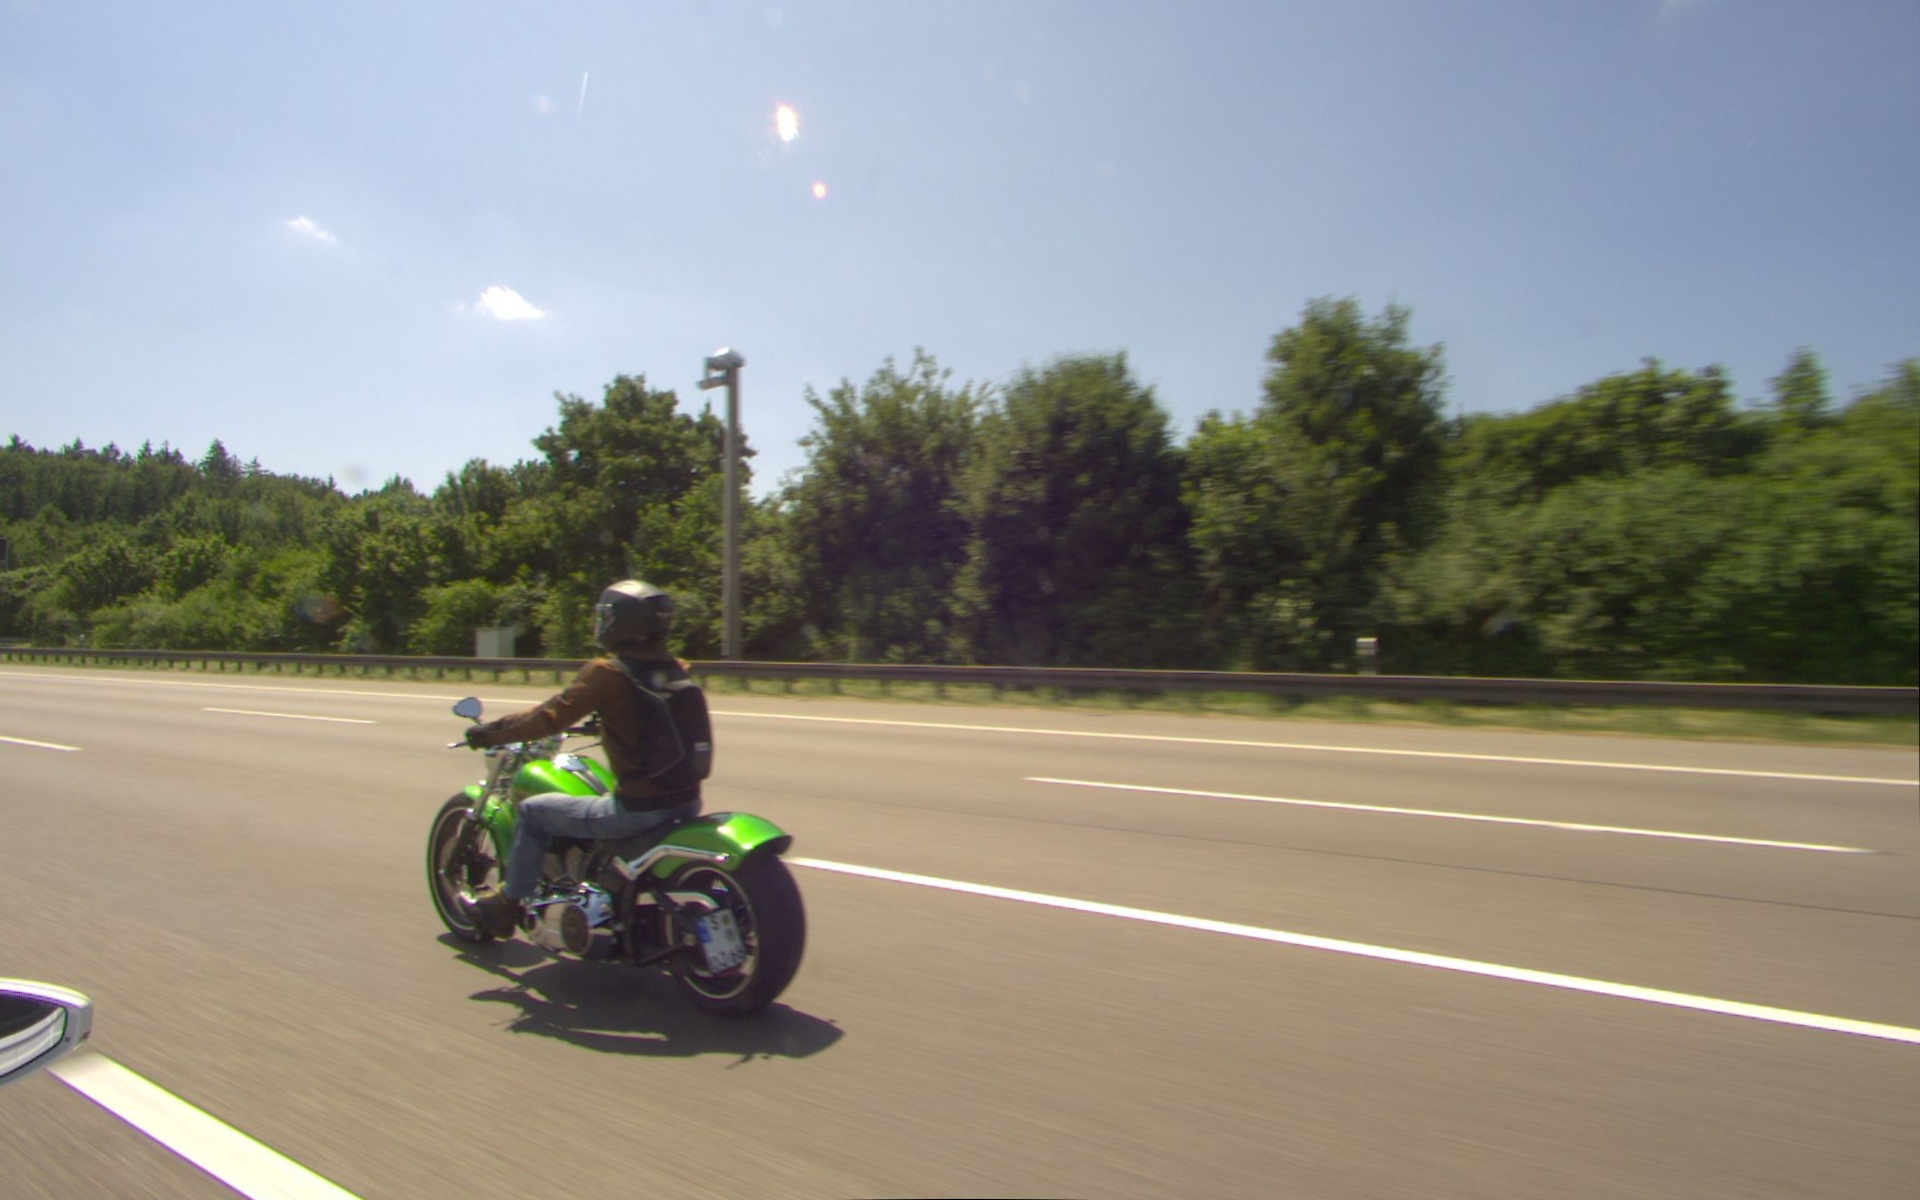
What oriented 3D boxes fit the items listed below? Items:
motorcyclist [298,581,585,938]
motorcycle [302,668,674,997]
[{"bbox_3d":[-2.430,0.659,4.702,1.010,1.446,0.850,-1,-1,37],"label":"motorcyclist"},{"bbox_3d":[-2.310,0.935,4.696,2.405,1.150,0.534,-1,-1,37],"label":"motorcycle"}]
